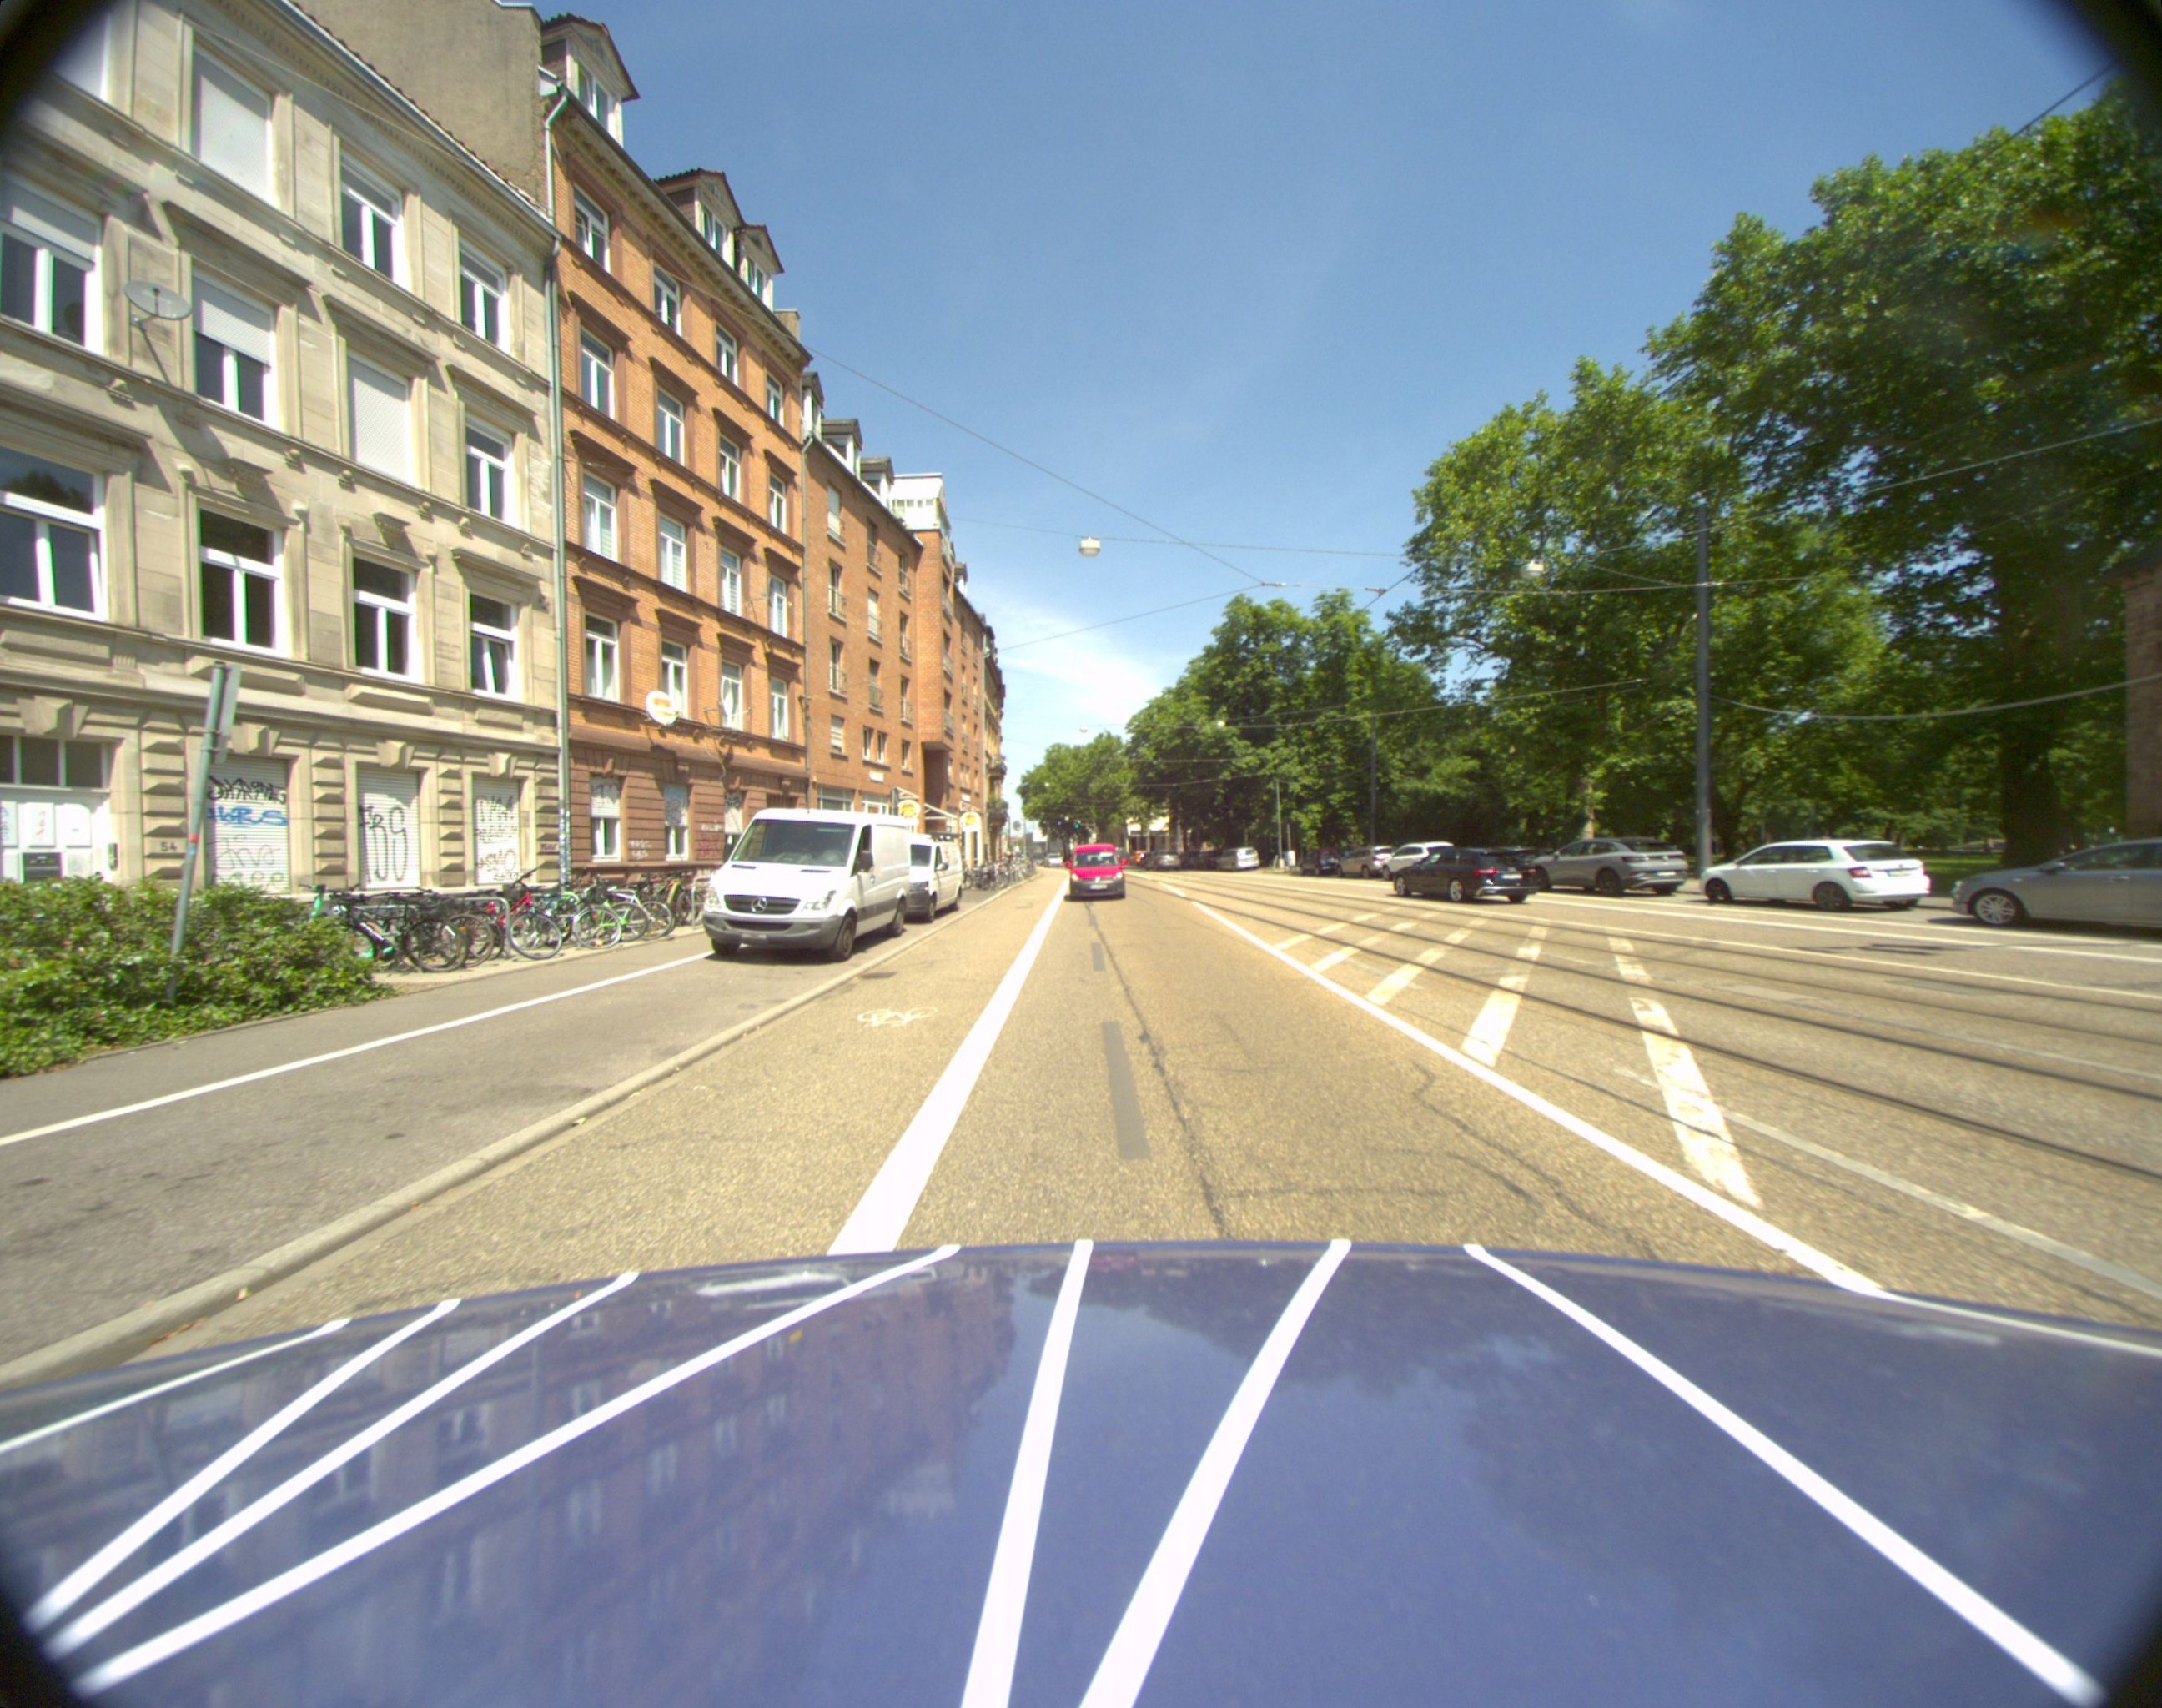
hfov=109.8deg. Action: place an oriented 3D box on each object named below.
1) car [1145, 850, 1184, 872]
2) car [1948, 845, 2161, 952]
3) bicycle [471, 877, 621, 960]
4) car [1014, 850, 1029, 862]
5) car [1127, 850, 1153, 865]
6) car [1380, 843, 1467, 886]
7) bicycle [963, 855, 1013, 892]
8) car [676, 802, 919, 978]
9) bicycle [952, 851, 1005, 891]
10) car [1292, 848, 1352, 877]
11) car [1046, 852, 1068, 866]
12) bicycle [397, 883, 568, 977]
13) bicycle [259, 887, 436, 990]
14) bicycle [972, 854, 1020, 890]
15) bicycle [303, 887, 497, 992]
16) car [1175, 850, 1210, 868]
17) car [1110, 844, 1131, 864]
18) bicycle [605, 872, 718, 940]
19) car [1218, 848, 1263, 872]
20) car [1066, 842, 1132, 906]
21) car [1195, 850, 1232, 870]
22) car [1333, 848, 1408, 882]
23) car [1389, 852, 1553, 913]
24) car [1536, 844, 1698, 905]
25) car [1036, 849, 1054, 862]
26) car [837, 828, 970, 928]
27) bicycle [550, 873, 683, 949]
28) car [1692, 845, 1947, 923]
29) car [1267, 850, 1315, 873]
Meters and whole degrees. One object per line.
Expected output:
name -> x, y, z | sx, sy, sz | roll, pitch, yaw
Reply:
car -> 6.119, 0.511, 56.078 | 1.978, 1.455, 3.997 | -2, 1, -6
car -> 16.085, 0.624, 11.267 | 1.663, 1.450, 4.056 | -2, 1, -5
bicycle -> -8.276, 0.987, 11.785 | 1.919, 1.174, 0.493 | -2, 1, 1
car -> -9.142, 0.293, 115.766 | 2.000, 1.641, 3.997 | -2, 1, -8
car -> 6.317, 0.344, 81.790 | 1.822, 1.477, 3.758 | -2, 1, -10
car -> 14.461, 0.402, 32.298 | 1.748, 1.643, 3.904 | -2, 1, -3
bicycle -> -3.951, 0.815, 32.281 | 1.937, 1.498, 0.665 | -2, 1, 12
car -> -4.408, 0.458, 12.957 | 1.998, 2.317, 5.407 | 2, 1, 1
bicycle -> -4.088, 0.683, 30.348 | 1.937, 1.498, 0.665 | -2, 1, 12
car -> 13.621, 0.443, 43.180 | 1.748, 1.489, 4.185 | -2, 1, -5
car -> -2.636, 0.531, 83.500 | 1.810, 1.455, 3.996 | -2, 1, -9
bicycle -> -8.203, 1.027, 10.449 | 1.919, 1.174, 0.493 | -2, 1, 1
bicycle -> -9.970, 1.095, 10.444 | 0.492, 1.174, 1.920 | -2, 1, 0
bicycle -> -3.751, 0.792, 33.620 | 1.937, 1.498, 0.665 | -2, 1, 12
bicycle -> -8.433, 1.047, 9.441 | 1.919, 1.174, 0.493 | -2, 1, 1
car -> 9.577, 0.391, 65.565 | 1.810, 1.455, 3.996 | -2, 1, -9
car -> 4.653, -0.062, 90.898 | 1.822, 2.284, 3.759 | -2, 1, -7
bicycle -> -8.238, 0.984, 15.031 | 0.491, 1.174, 1.924 | -2, 1, 30
car -> 11.453, 0.390, 54.828 | 1.978, 1.554, 3.997 | -2, 1, -7
car -> 0.527, 0.564, 24.954 | 1.859, 1.824, 5.165 | -2, 1, 0
car -> 10.409, 0.422, 59.912 | 1.810, 1.455, 3.997 | -2, 1, -6
car -> 14.116, 0.489, 37.333 | 1.748, 1.489, 4.185 | -2, 1, -5
car -> 10.242, 0.673, 20.385 | 1.751, 1.387, 4.344 | -2, 1, -7
car -> 15.177, 0.525, 21.786 | 1.748, 1.515, 3.751 | -2, 1, -5
car -> -4.558, 0.160, 96.532 | 1.810, 1.455, 3.996 | -2, 1, -9
car -> -4.240, 0.484, 19.110 | 1.998, 2.123, 5.272 | 2, 1, 1
bicycle -> -7.897, 0.961, 12.962 | 1.919, 1.174, 0.493 | -2, 1, 1
car -> 15.886, 0.572, 16.644 | 1.748, 1.450, 3.751 | -2, 1, -5
car -> 13.342, 0.453, 48.492 | 1.650, 1.372, 3.763 | -2, 1, -5
